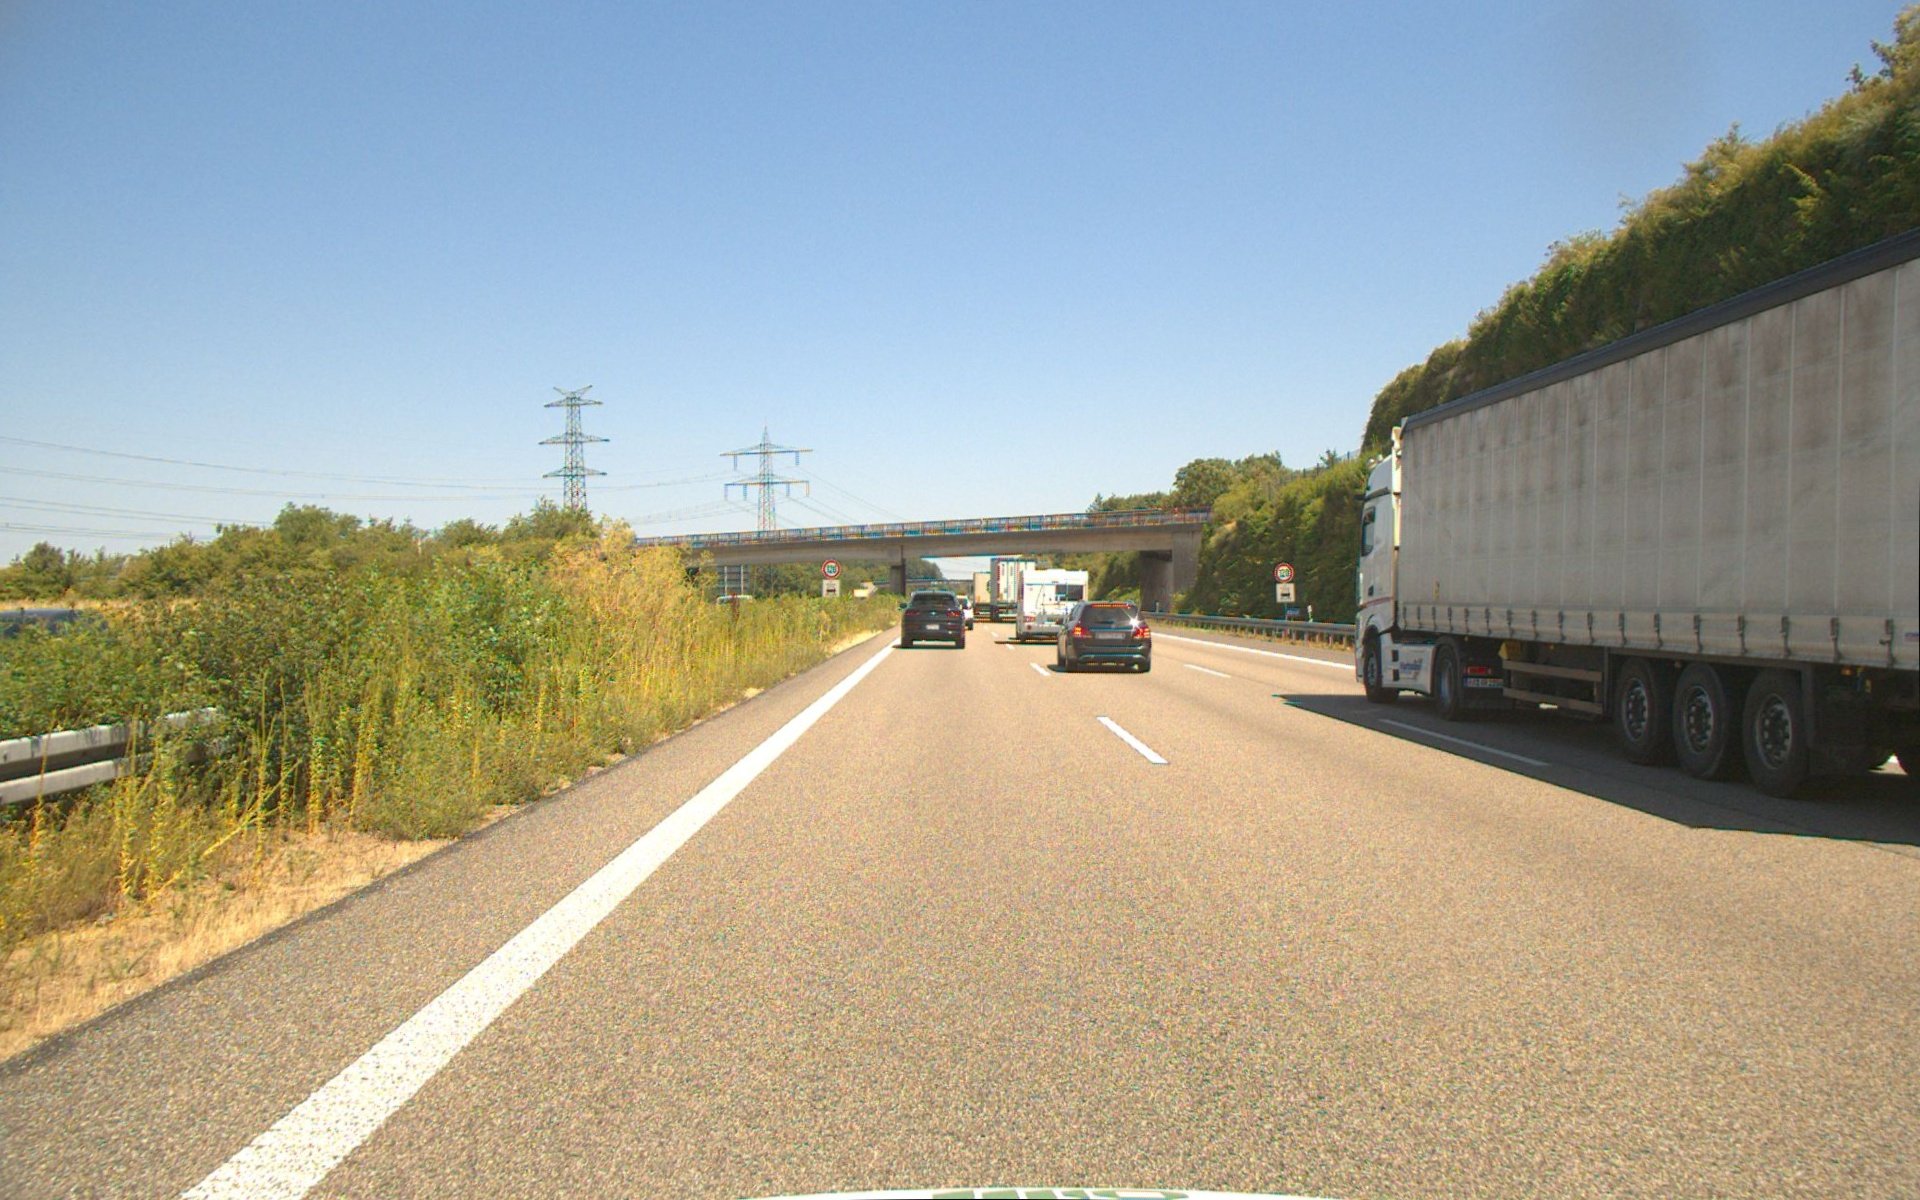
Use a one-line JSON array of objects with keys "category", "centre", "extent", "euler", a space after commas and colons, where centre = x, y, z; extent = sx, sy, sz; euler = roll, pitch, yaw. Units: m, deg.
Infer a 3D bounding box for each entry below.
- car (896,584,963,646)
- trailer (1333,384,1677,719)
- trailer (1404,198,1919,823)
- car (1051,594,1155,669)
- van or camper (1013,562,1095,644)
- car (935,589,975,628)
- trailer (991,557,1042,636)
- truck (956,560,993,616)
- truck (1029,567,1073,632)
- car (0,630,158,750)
[{"category": "car", "centre": [-0.938, 0.444, 51.177], "extent": [1.953, 1.803, 3.999], "euler": [-1, 0, -1]}, {"category": "trailer", "centre": [7.560, -0.610, 23.995], "extent": [2.658, 4.174, 6.788], "euler": [0, 0, -1]}, {"category": "trailer", "centre": [7.666, -0.603, 16.644], "extent": [2.673, 4.174, 13.186], "euler": [0, 0, -1]}, {"category": "car", "centre": [3.074, 0.639, 36.406], "extent": [1.804, 1.532, 4.737], "euler": [0, 0, -1]}, {"category": "van or camper", "centre": [3.244, 0.097, 58.432], "extent": [2.389, 2.721, 6.348], "euler": [-1, 0, -1]}, {"category": "car", "centre": [-0.279, 0.406, 81.970], "extent": [1.922, 1.846, 4.448], "euler": [-1, 0, -1]}, {"category": "trailer", "centre": [3.716, -0.217, 111.499], "extent": [3.024, 4.970, 12.257], "euler": [1, 0, 0]}, {"category": "truck", "centre": [1.381, -1.145, 161.473], "extent": [3.440, 5.257, 10.258], "euler": [0, 0, 0]}, {"category": "truck", "centre": [7.251, -0.022, 133.329], "extent": [3.024, 4.970, 8.797], "euler": [1, 0, 0]}, {"category": "car", "centre": [-14.941, 1.370, 26.689], "extent": [1.824, 1.683, 4.557], "euler": [0, 0, -1]}]
